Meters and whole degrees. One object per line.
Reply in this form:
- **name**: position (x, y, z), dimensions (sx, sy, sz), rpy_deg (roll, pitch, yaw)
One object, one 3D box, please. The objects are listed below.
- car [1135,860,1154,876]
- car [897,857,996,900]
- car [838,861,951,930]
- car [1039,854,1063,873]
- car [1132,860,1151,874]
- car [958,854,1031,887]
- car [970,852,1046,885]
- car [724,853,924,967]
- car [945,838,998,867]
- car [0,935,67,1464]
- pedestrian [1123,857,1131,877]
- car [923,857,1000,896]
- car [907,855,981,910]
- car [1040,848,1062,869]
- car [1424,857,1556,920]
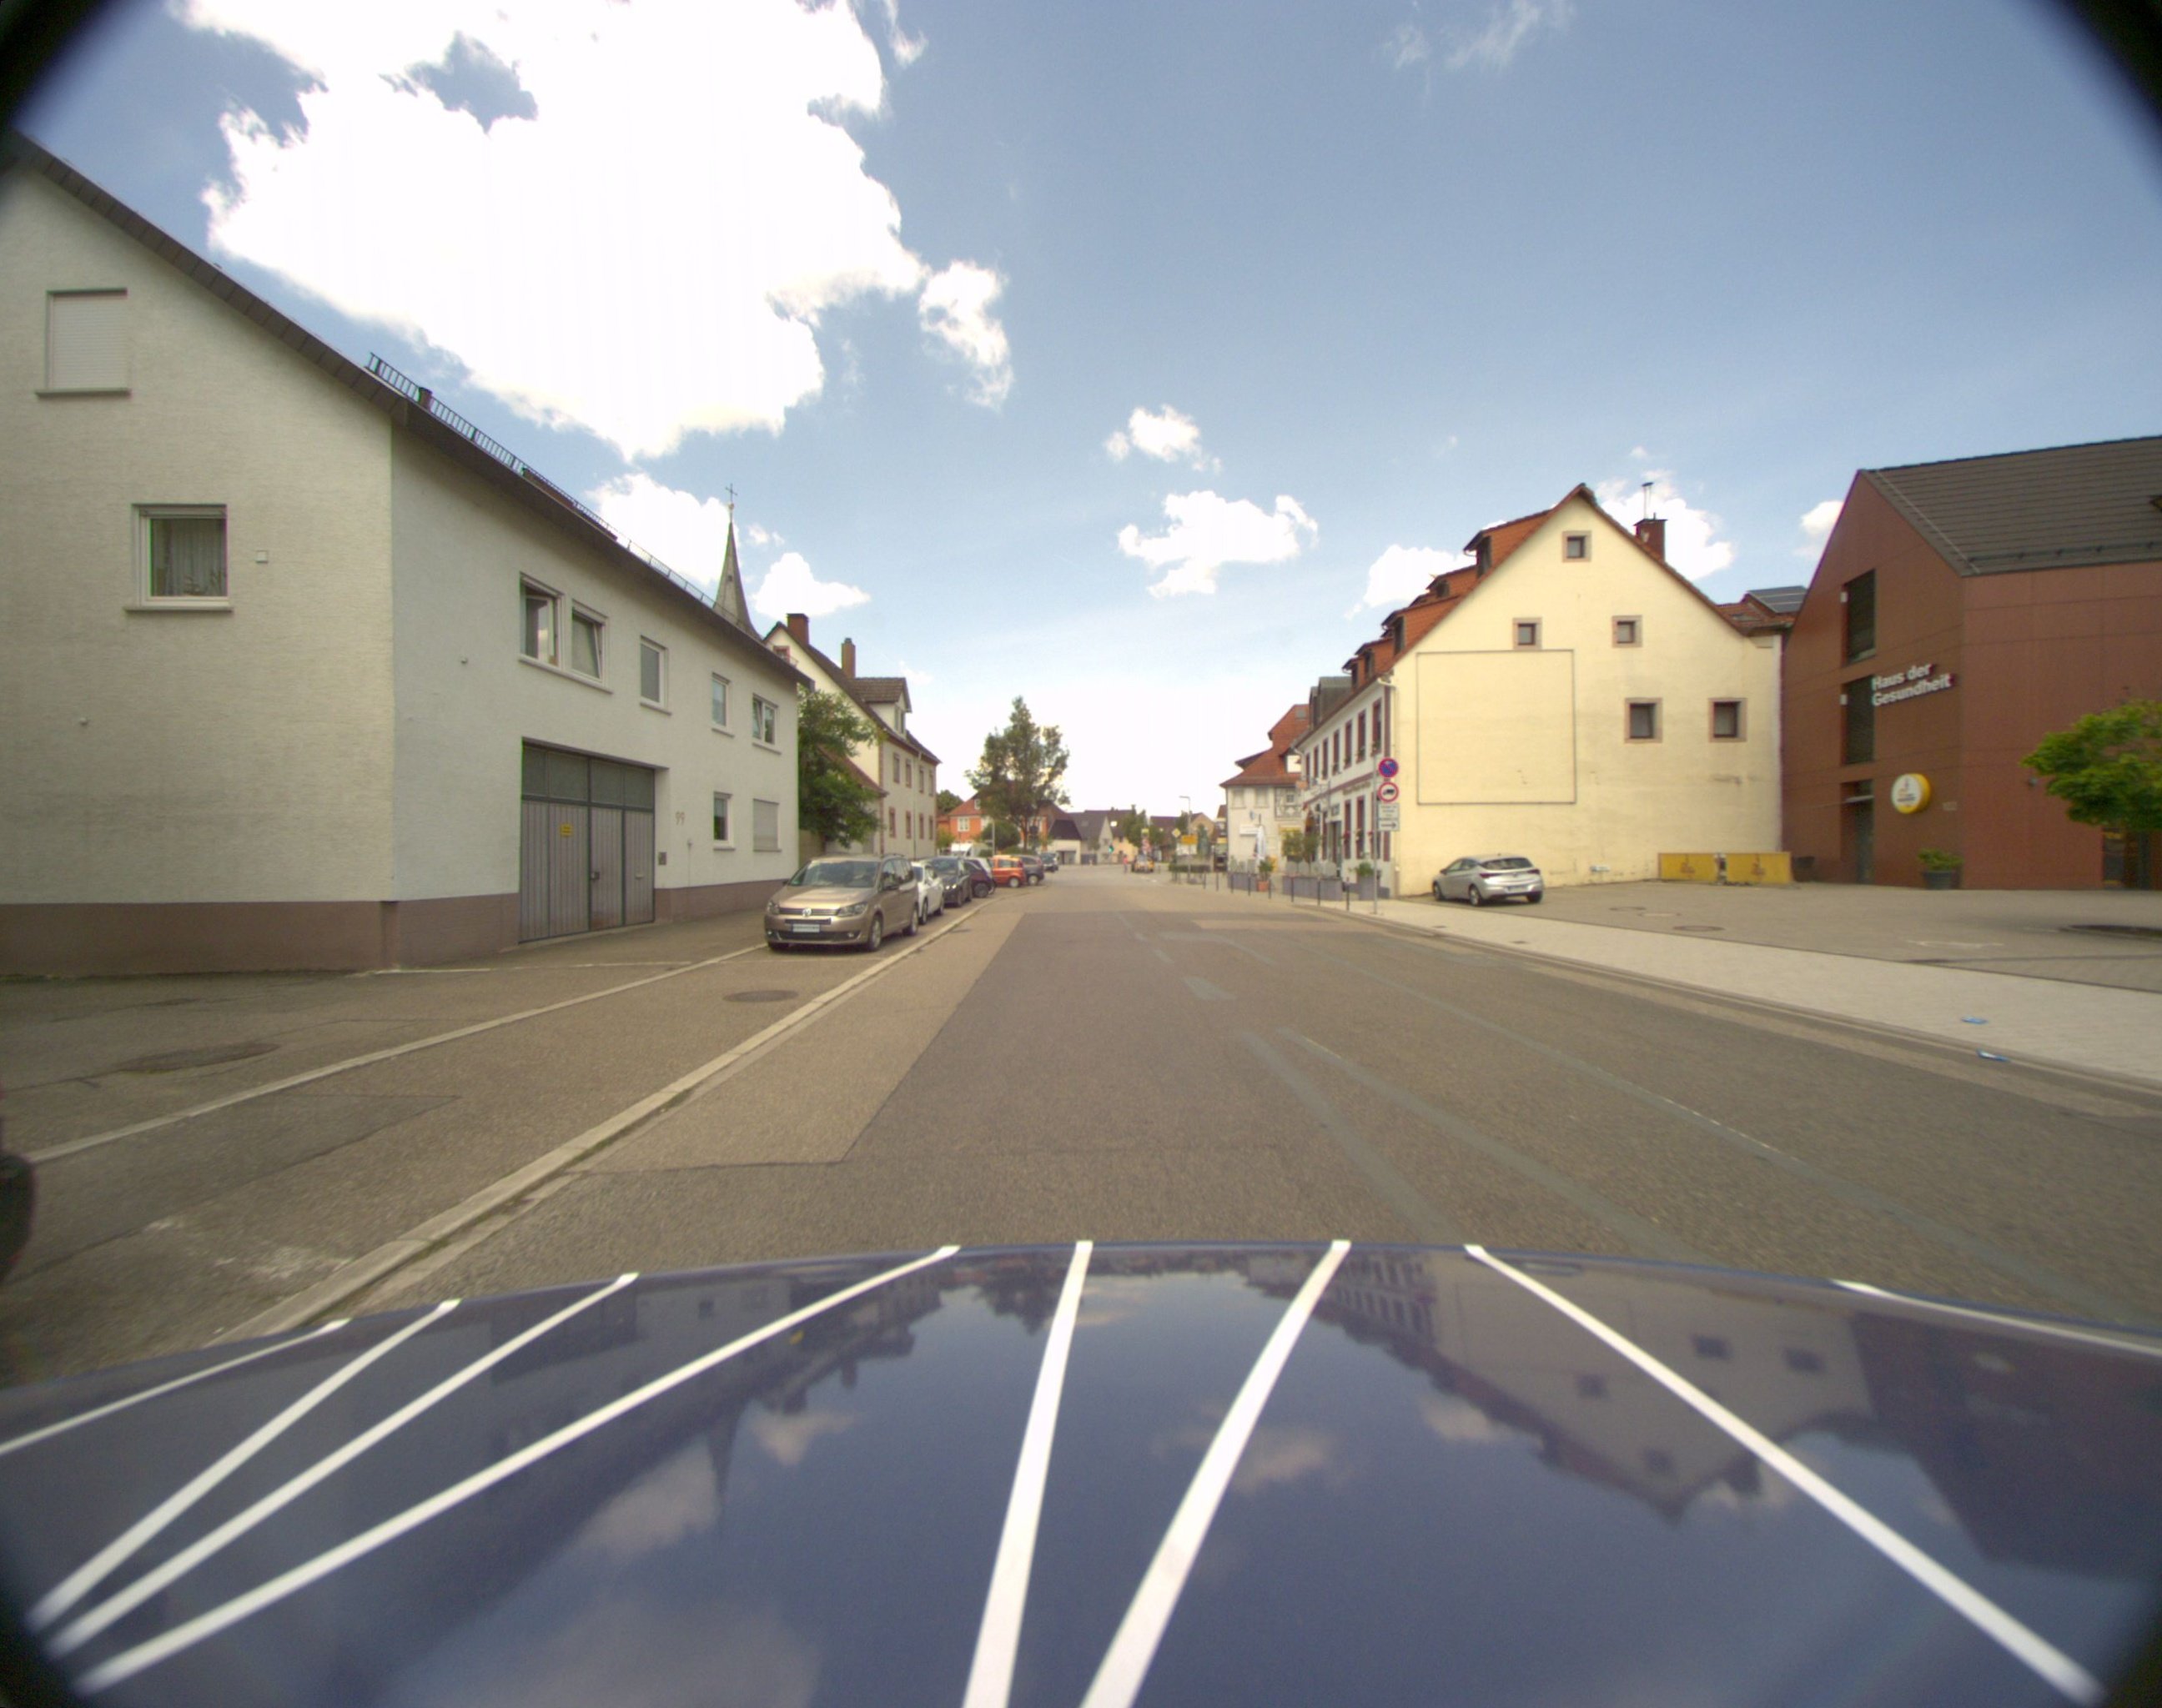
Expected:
- **car**: position (6.137, 1.326, 73.546), dimensions (1.672, 1.466, 3.964), rpy_deg (0, 0, 3)
- **car**: position (-5.032, 0.907, 28.367), dimensions (3.241, 1.496, 1.822), rpy_deg (2, 0, -26)
- **car**: position (-4.563, 0.955, 19.277), dimensions (1.999, 1.508, 4.370), rpy_deg (0, 0, -3)
- **car**: position (-2.635, 0.817, 67.698), dimensions (1.773, 1.555, 4.419), rpy_deg (2, 0, 3)
- **car**: position (6.373, 1.389, 79.931), dimensions (1.819, 1.415, 4.539), rpy_deg (0, 0, 6)
- **car**: position (-4.245, 0.806, 37.684), dimensions (3.385, 1.568, 1.726), rpy_deg (1, 0, 1)
- **car**: position (-3.774, 0.741, 40.030), dimensions (3.859, 1.569, 1.849), rpy_deg (1, 3, -3)
- **car**: position (-4.246, 0.832, 13.405), dimensions (1.998, 1.671, 4.323), rpy_deg (0, 0, 1)
- **car**: position (-11.769, -0.218, 82.546), dimensions (2.755, 2.946, 7.123), rpy_deg (1, 1, 18)
- **car**: position (-3.984, 0.977, 0.219), dimensions (1.779, 1.486, 4.162), rpy_deg (1, 0, 1)
- **pedestrian**: position (3.851, 1.103, 63.360), dimensions (0.640, 1.619, 0.620), rpy_deg (0, 1, 4)
- **car**: position (-4.932, 0.896, 31.280), dimensions (2.791, 1.496, 1.874), rpy_deg (0, 0, -23)
- **car**: position (-4.339, 0.861, 24.652), dimensions (1.667, 1.615, 4.271), rpy_deg (0, 0, 0)
- **car**: position (-3.149, 0.479, 81.163), dimensions (1.947, 2.164, 5.101), rpy_deg (2, 0, 1)
- **car**: position (12.083, 0.947, 22.792), dimensions (1.762, 1.484, 4.276), rpy_deg (-5, 0, 3)
